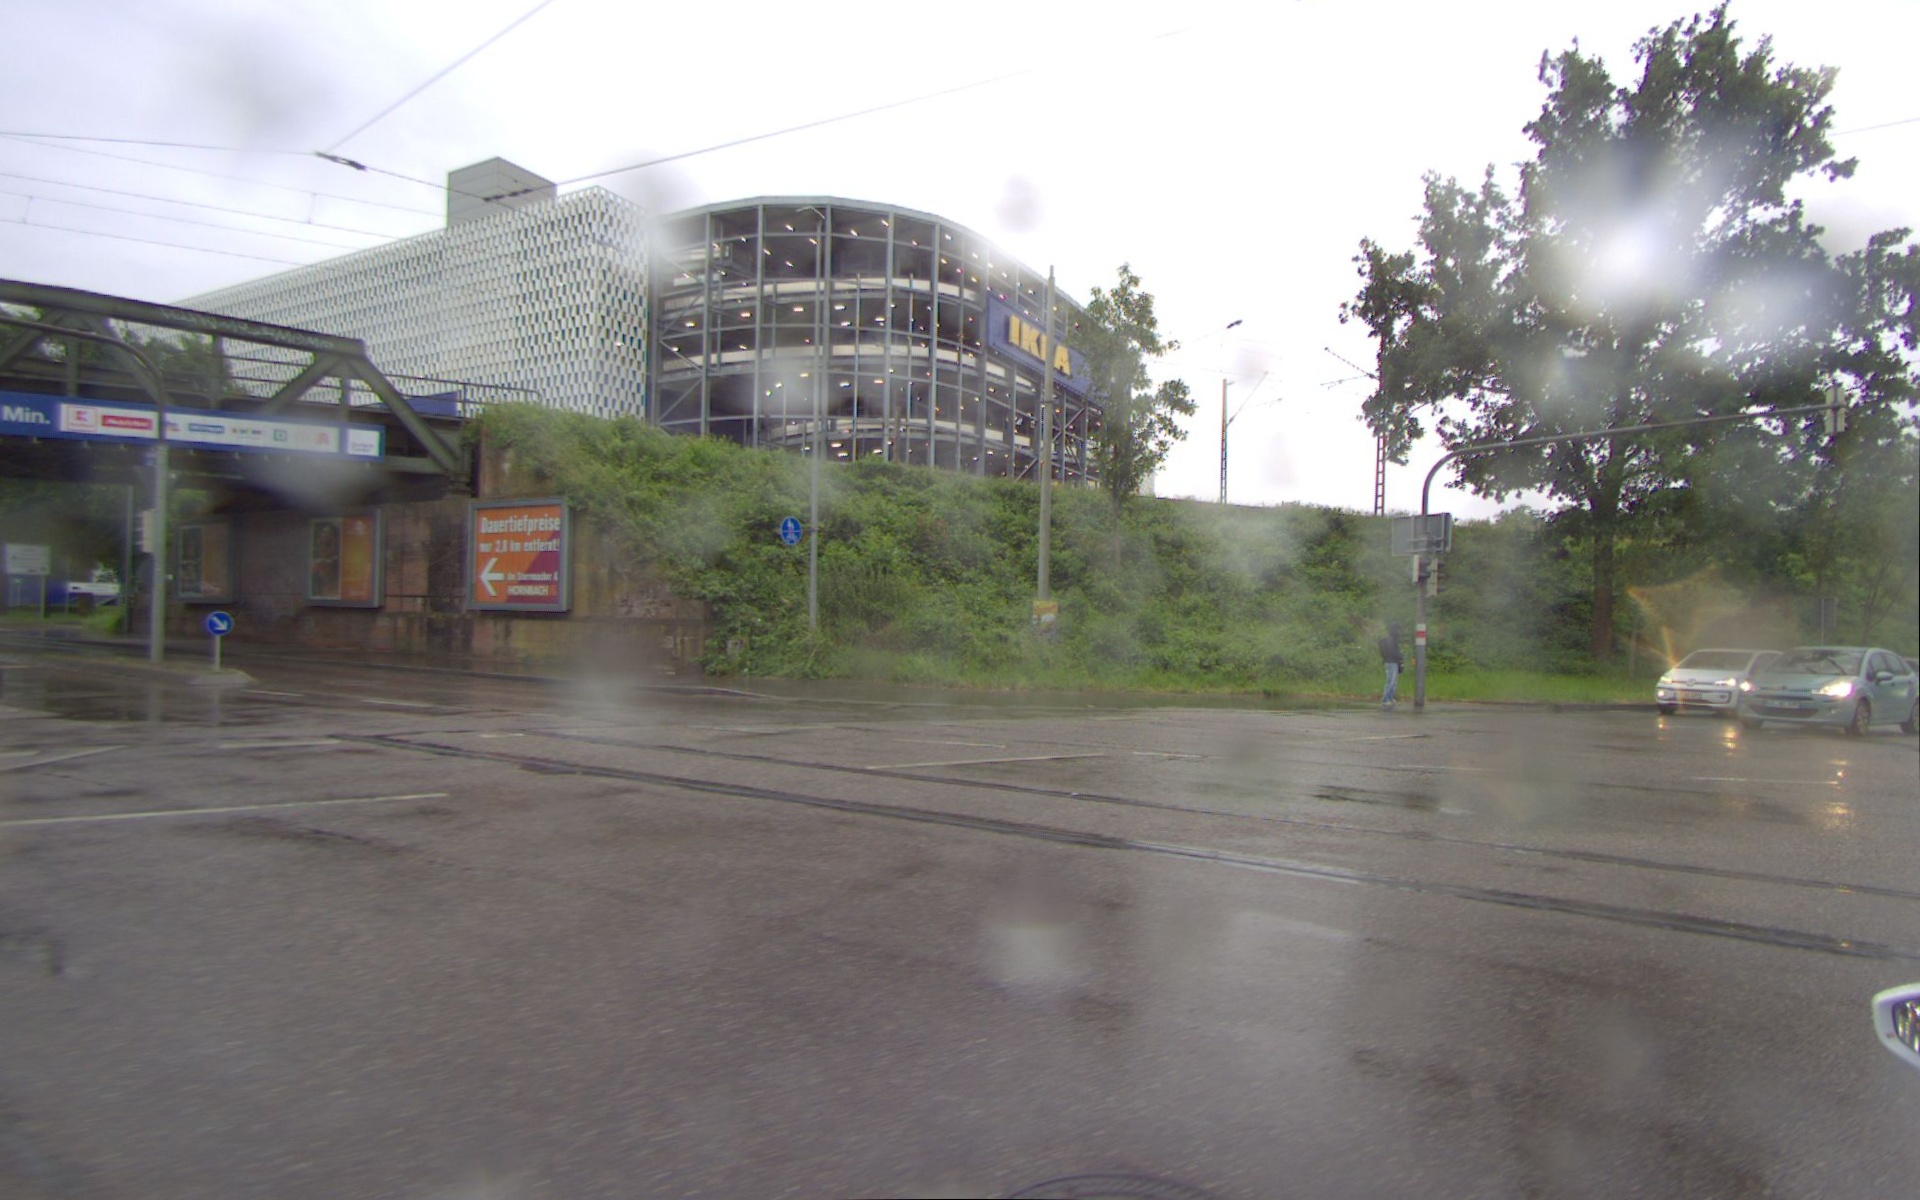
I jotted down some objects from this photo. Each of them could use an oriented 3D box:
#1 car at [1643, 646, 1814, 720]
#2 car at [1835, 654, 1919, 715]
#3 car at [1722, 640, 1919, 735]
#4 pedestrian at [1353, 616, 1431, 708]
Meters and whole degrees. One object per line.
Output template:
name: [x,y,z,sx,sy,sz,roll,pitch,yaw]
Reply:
car: [17.084,1.803,22.317,3.740,1.471,1.631,2,-2,-28]
car: [24.521,2.144,25.971,3.774,1.422,1.585,2,-1,-27]
car: [15.469,1.508,17.955,3.920,1.493,1.630,2,-2,-31]
pedestrian: [9.248,1.304,21.514,1.120,1.871,1.094,2,-1,-37]
